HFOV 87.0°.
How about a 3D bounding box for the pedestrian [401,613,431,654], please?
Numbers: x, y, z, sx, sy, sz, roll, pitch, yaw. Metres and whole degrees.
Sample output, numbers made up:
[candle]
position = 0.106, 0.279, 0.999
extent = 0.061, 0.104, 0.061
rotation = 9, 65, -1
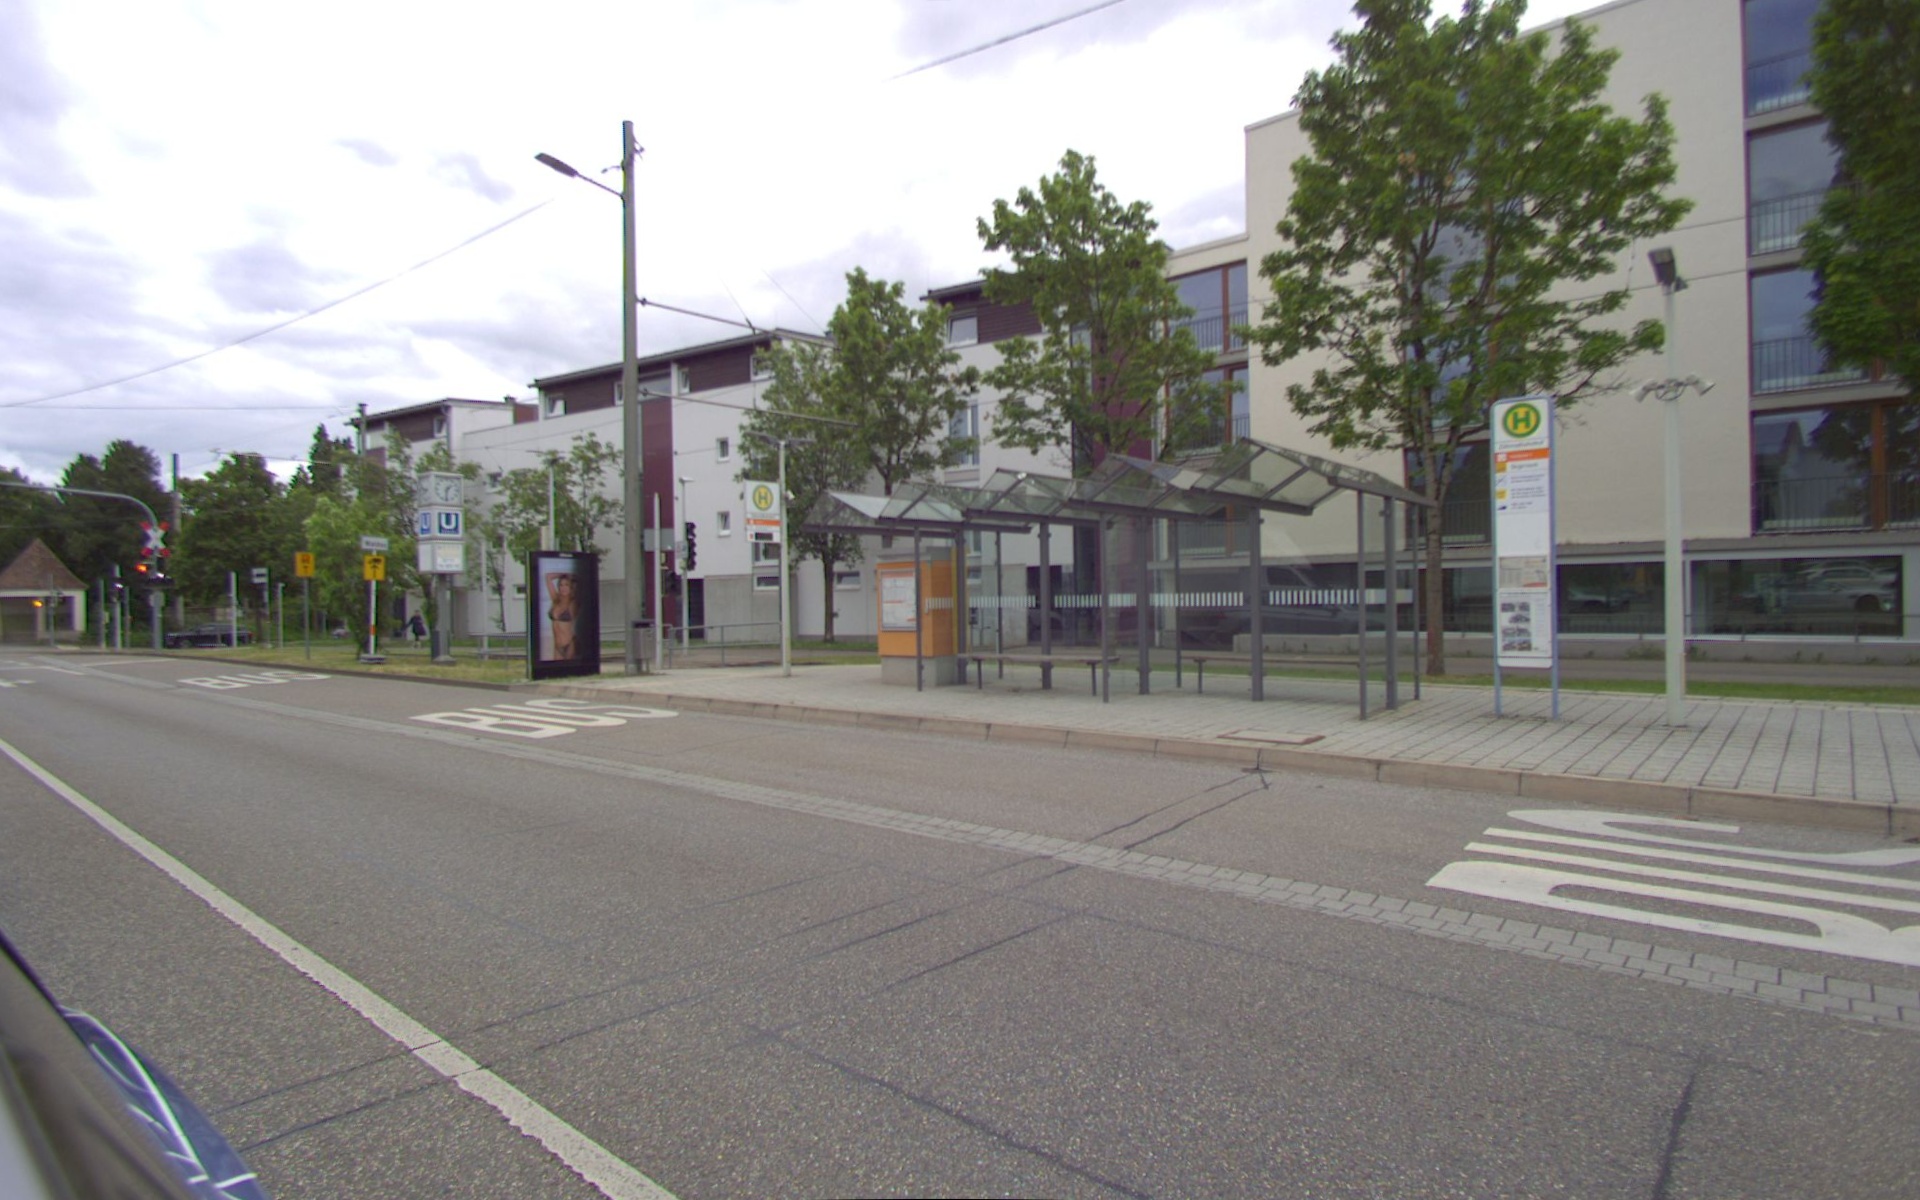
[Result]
[pedestrian]
position = -22.304, 1.365, 41.486
extent = 0.778, 1.607, 0.773
rotation = -1, 0, 32

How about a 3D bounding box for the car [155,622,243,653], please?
[car]
position = -46.520, 2.278, 61.920
extent = 1.925, 1.719, 3.950
rotation = -1, 0, 37
